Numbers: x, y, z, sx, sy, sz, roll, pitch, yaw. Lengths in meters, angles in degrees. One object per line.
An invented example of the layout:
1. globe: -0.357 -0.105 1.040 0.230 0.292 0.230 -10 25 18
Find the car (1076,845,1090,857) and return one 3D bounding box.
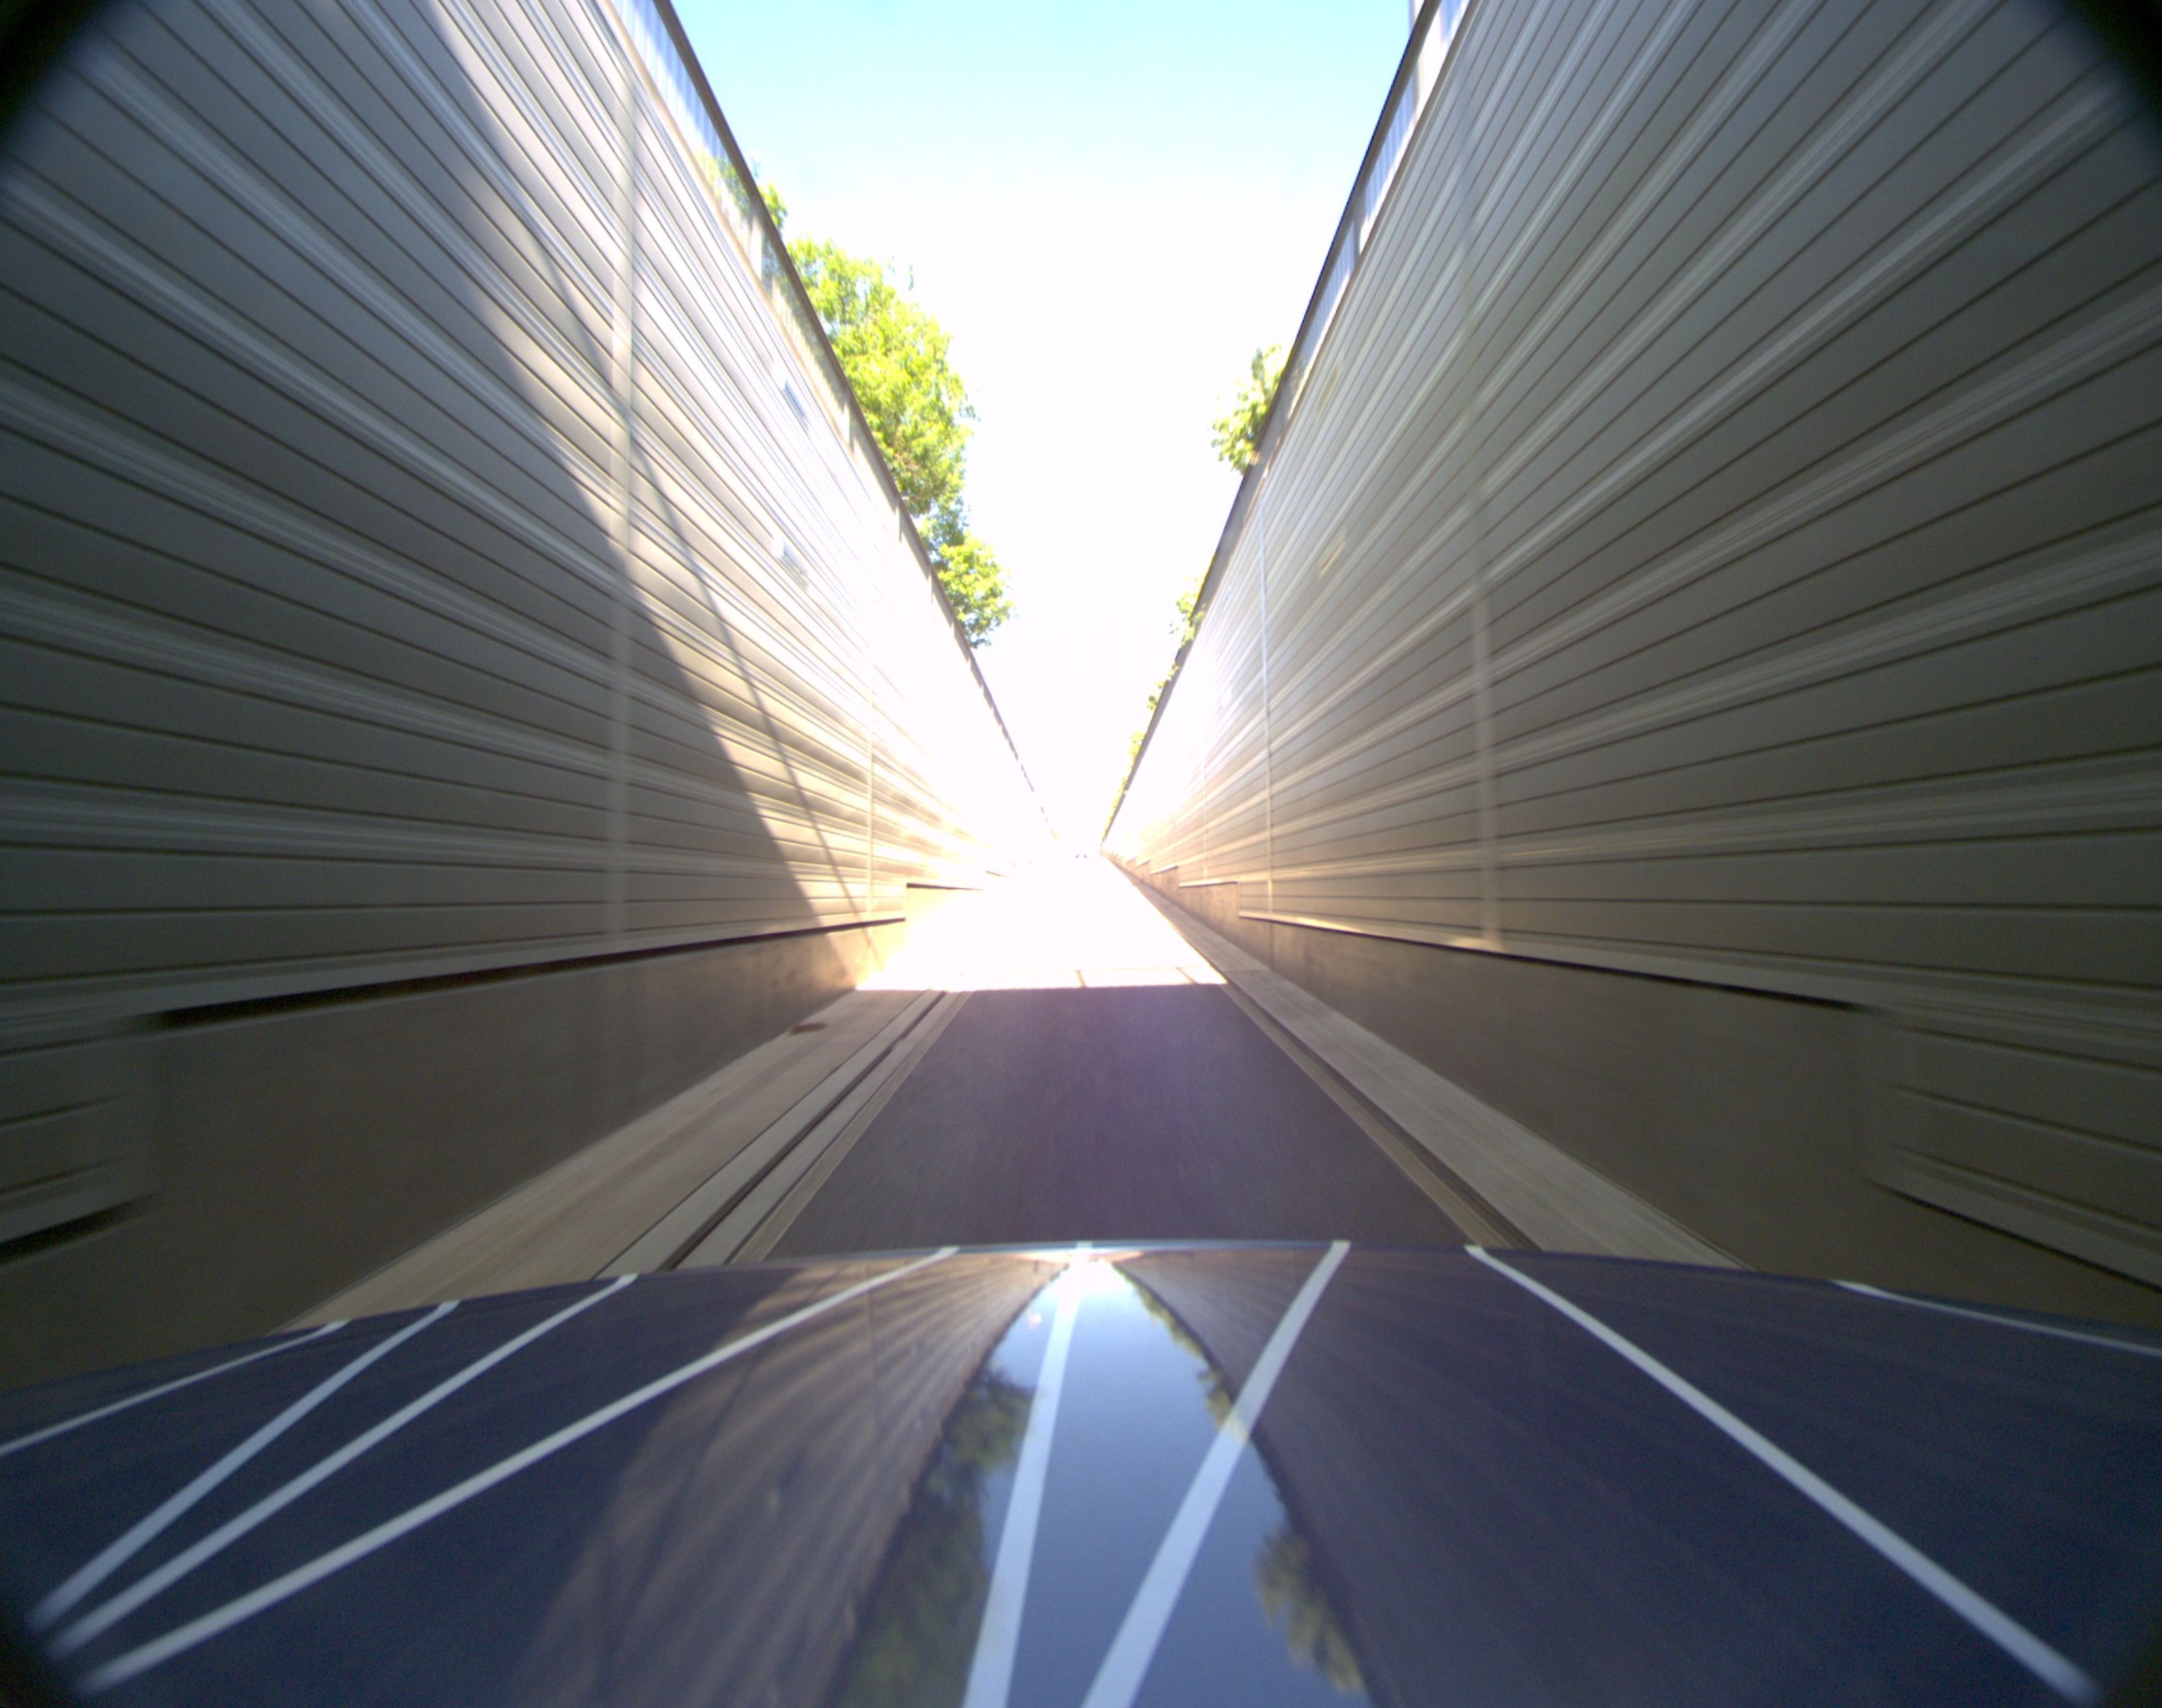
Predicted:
1. car: 0.267 -0.352 98.790 1.829 1.327 4.002 -1 -2 1
